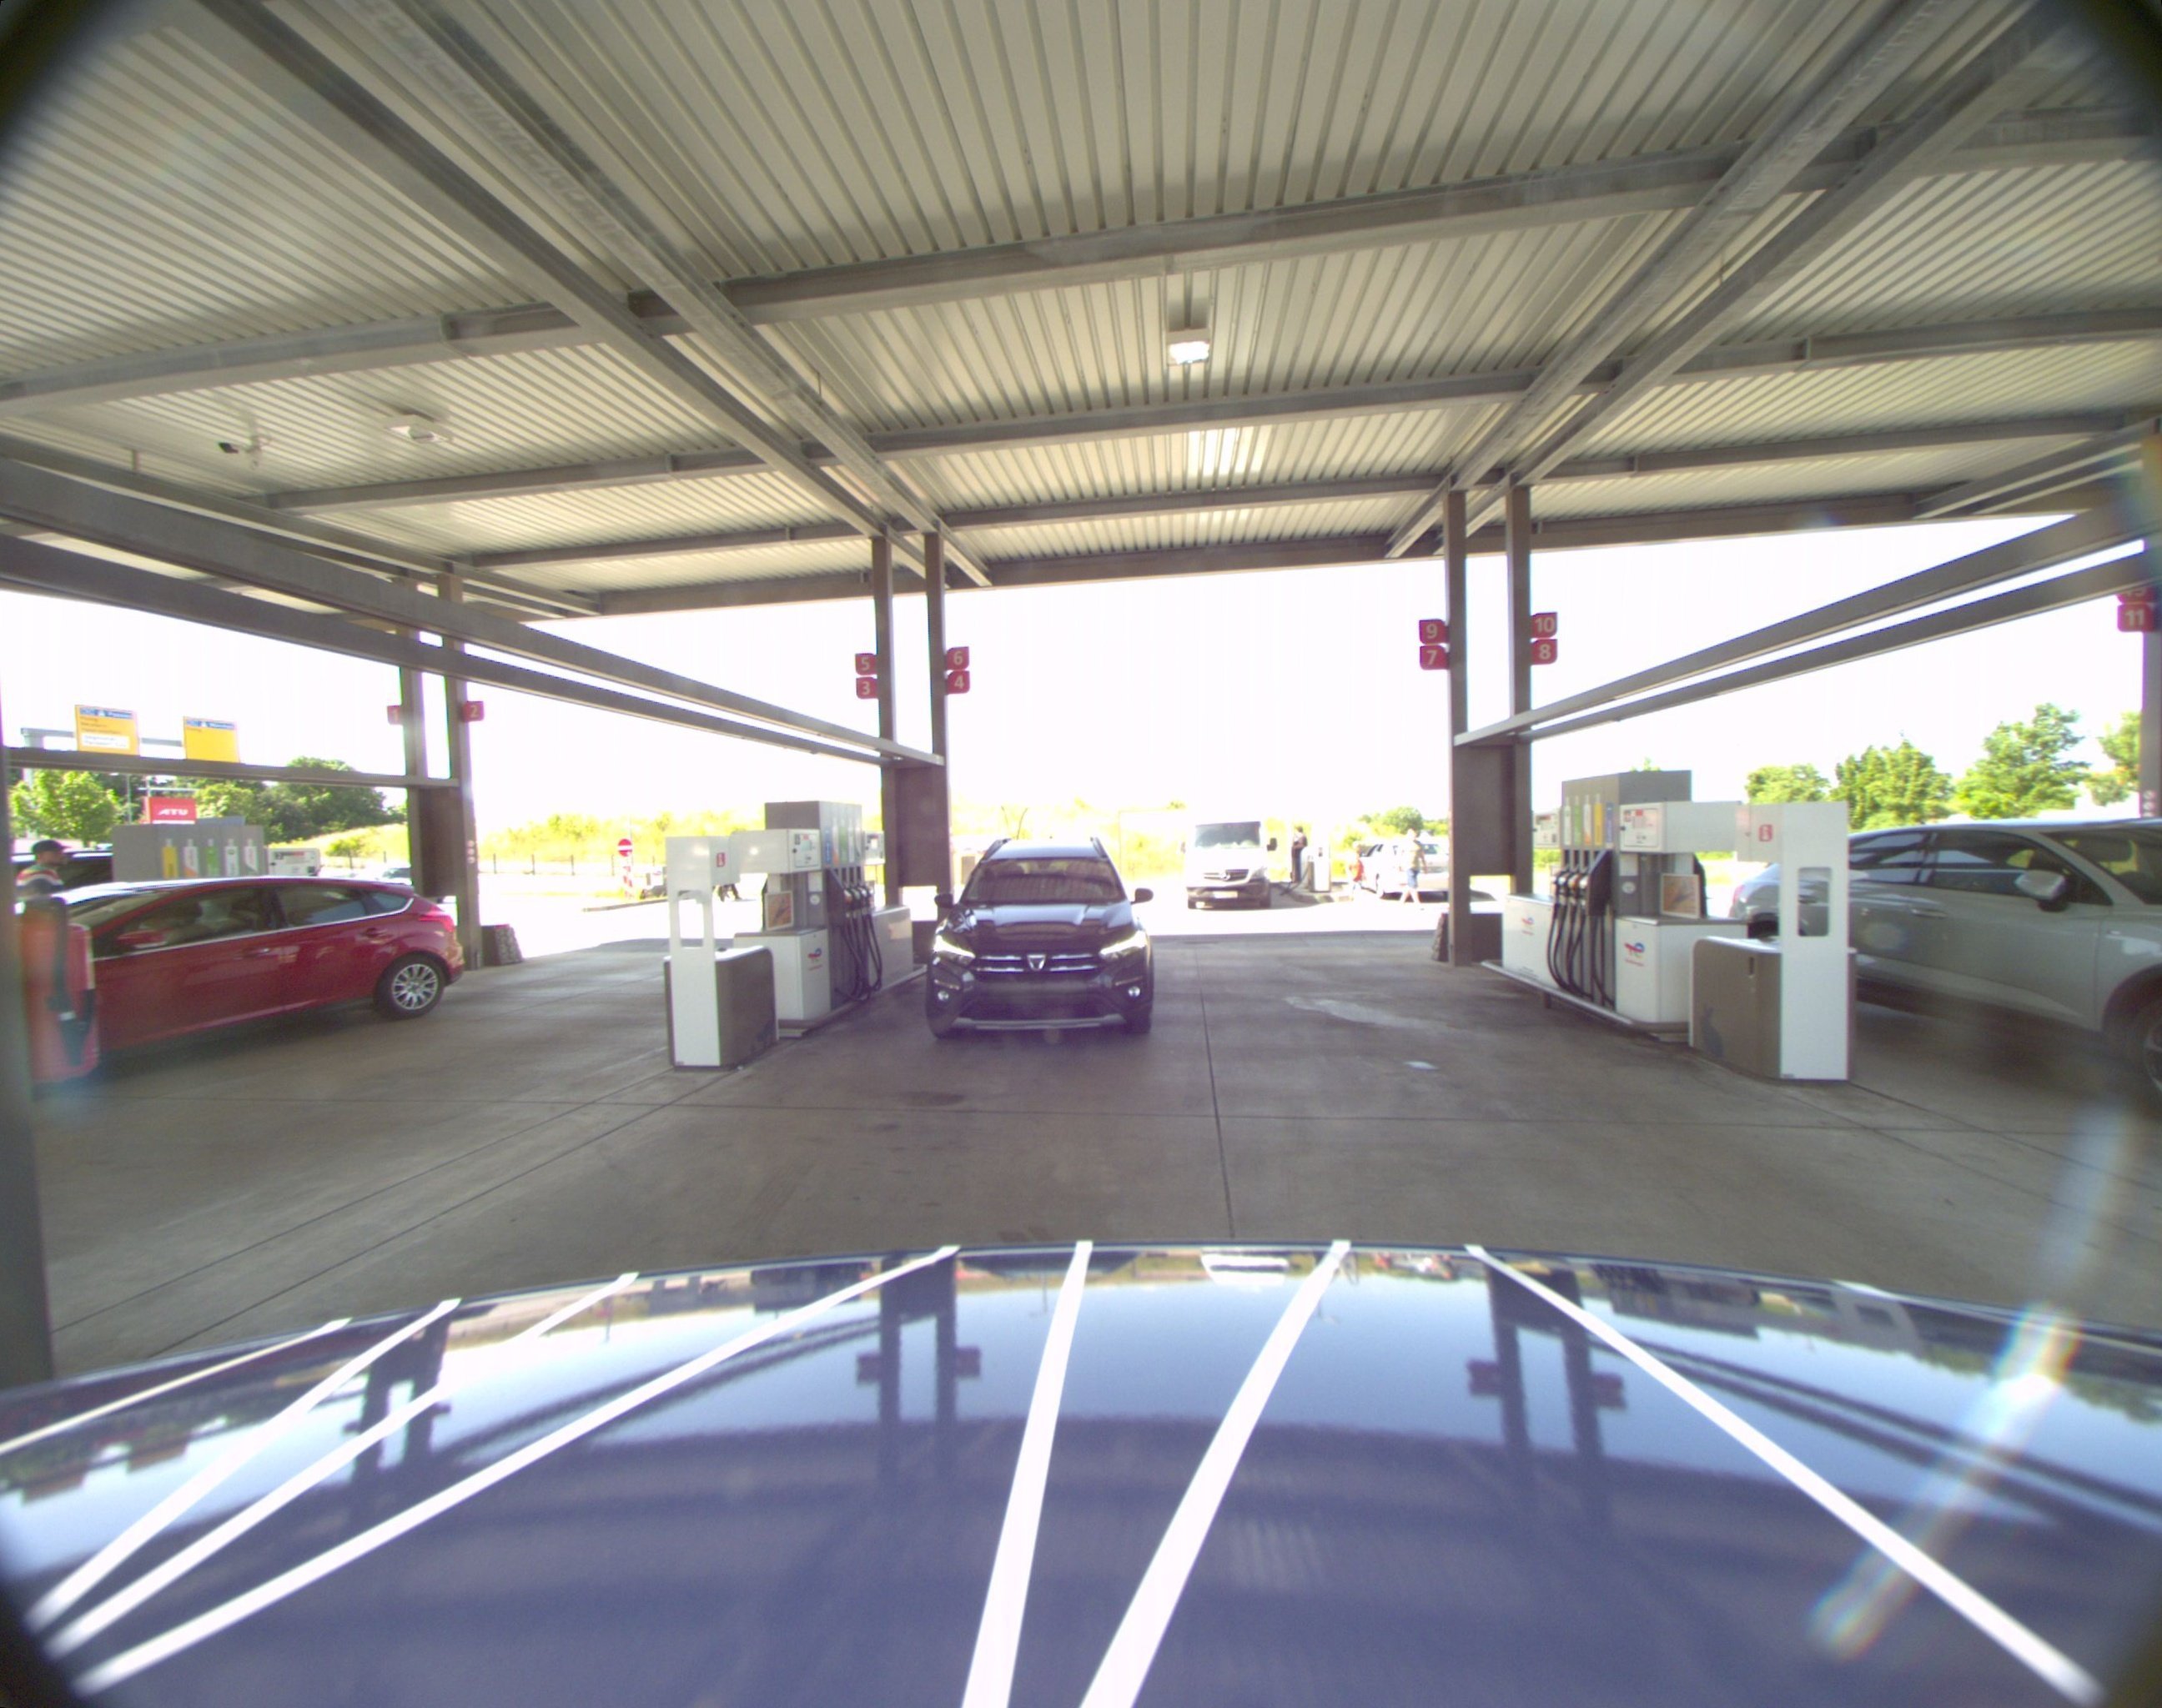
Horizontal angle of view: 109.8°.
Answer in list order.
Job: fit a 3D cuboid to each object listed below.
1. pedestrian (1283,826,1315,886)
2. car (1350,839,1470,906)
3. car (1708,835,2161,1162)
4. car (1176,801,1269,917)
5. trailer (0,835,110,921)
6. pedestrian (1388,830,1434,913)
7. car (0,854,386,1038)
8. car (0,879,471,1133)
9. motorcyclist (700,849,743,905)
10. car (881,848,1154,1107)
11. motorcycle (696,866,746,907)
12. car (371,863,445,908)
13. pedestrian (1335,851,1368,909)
[{"bbox_3d":[6.488,0.050,22.647,0.844,1.760,0.710,-1,1,11],"label":"pedestrian"},{"bbox_3d":[8.300,0.392,19.576,1.791,1.420,4.323,-1,2,9],"label":"car"},{"bbox_3d":[6.175,0.669,4.513,1.783,1.532,4.327,-1,1,8],"label":"car"},{"bbox_3d":[3.997,-0.068,20.363,1.996,2.557,7.034,-1,3,14],"label":"car"},{"bbox_3d":[-31.697,0.679,22.626,2.003,2.413,3.990,-2,1,-30],"label":"trailer"},{"bbox_3d":[7.082,0.367,16.325,0.708,1.739,0.845,-1,1,10],"label":"pedestrian"},{"bbox_3d":[-11.933,0.944,9.835,2.034,1.840,4.793,-1,0,-10],"label":"car"},{"bbox_3d":[-7.598,1.047,6.034,1.702,1.460,4.234,-1,1,7],"label":"car"},{"bbox_3d":[-11.249,0.700,23.817,1.035,1.678,1.097,-2,2,-17],"label":"motorcyclist"},{"bbox_3d":[-0.335,0.791,7.266,1.742,1.635,4.632,-1,1,2],"label":"car"},{"bbox_3d":[-11.257,0.990,23.861,1.046,1.100,2.411,-1,2,-17],"label":"motorcycle"},{"bbox_3d":[-25.475,1.134,28.726,1.813,1.494,3.988,-2,1,-45],"label":"car"},{"bbox_3d":[6.207,0.583,17.449,0.577,1.299,0.669,-1,1,10],"label":"pedestrian"}]
